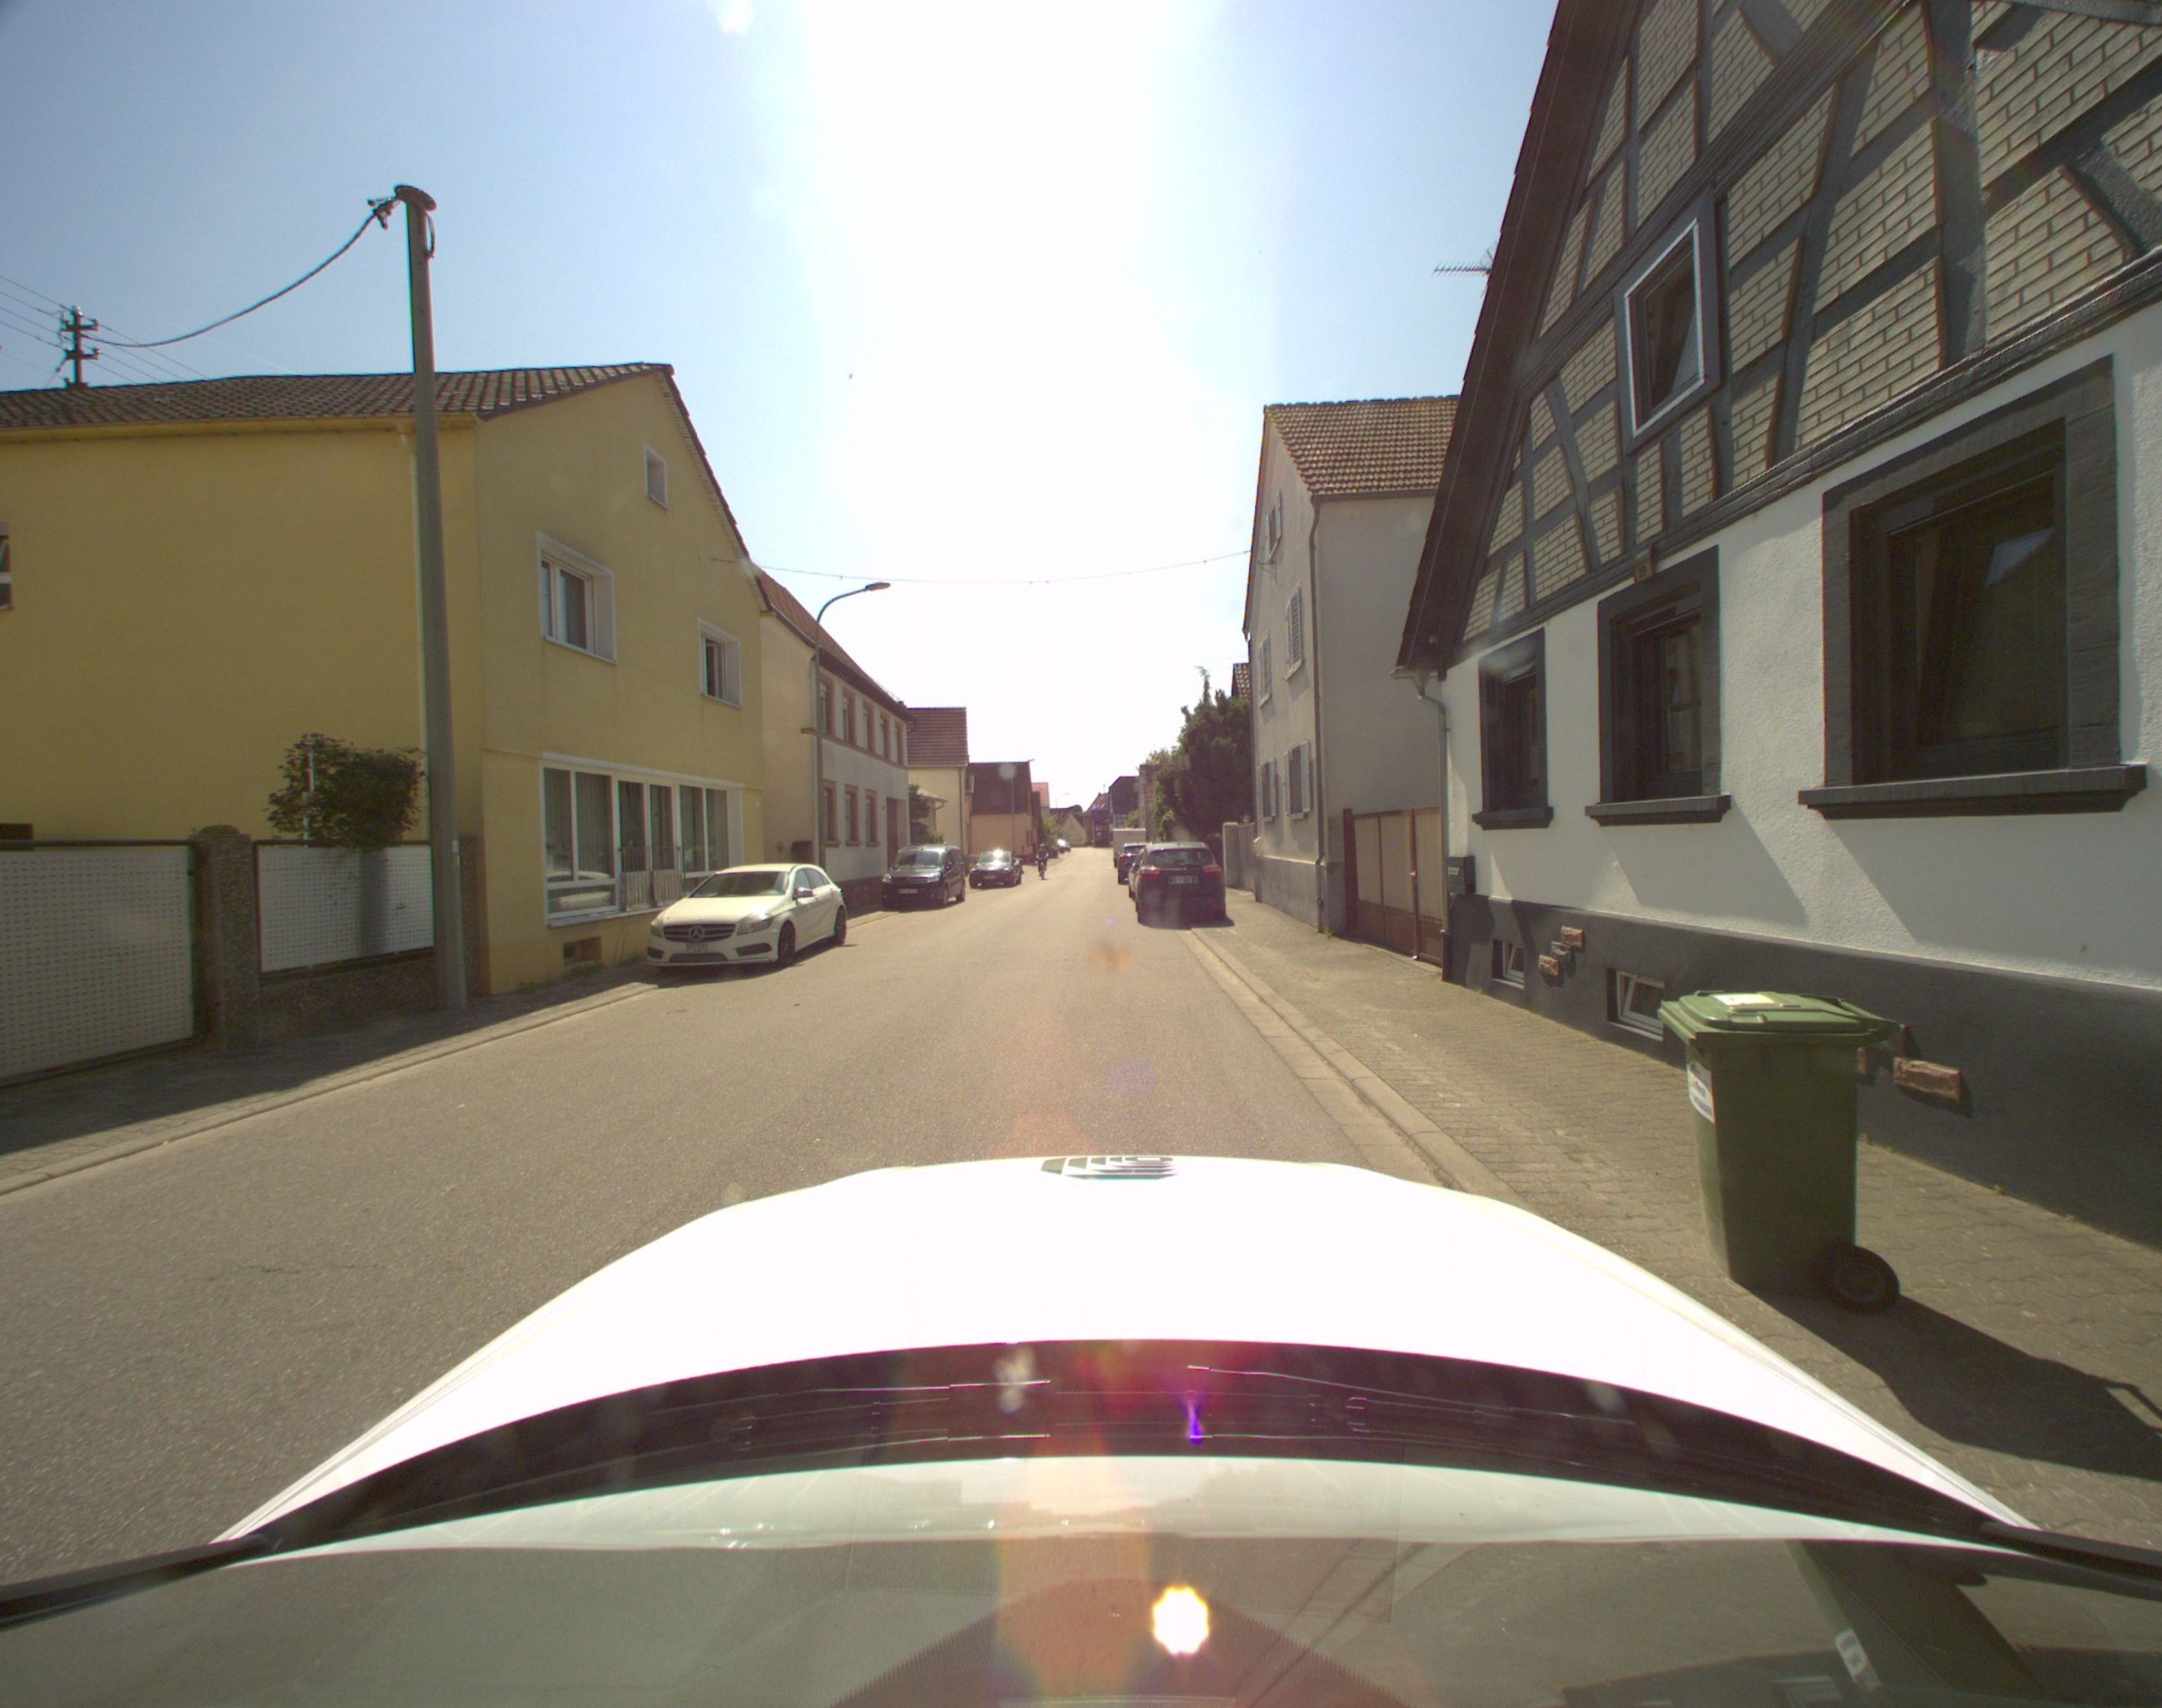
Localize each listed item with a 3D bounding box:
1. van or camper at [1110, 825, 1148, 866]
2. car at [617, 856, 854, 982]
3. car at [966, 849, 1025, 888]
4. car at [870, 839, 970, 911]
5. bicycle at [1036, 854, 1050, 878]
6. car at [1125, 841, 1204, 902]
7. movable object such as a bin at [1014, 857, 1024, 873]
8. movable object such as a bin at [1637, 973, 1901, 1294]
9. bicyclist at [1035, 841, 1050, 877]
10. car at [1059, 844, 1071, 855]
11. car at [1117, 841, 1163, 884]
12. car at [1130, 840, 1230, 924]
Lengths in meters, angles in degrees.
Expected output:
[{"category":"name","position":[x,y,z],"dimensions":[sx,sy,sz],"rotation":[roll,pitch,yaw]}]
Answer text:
[{"category":"van or camper","position":[3.397,-0.613,58.437],"dimensions":[2.513,2.696,4.556],"rotation":[-2,0,1]},{"category":"car","position":[-5.016,0.839,12.559],"dimensions":[1.829,1.464,4.268],"rotation":[-3,1,-1]},{"category":"car","position":[-3.683,0.576,35.823],"dimensions":[1.837,1.526,4.769],"rotation":[-2,1,3]},{"category":"car","position":[-4.612,0.535,24.020],"dimensions":[1.827,1.837,4.357],"rotation":[-3,1,3]},{"category":"bicycle","position":[-1.903,0.603,41.069],"dimensions":[0.587,1.148,1.947],"rotation":[-3,1,-1]},{"category":"car","position":[2.280,0.429,23.392],"dimensions":[1.813,1.508,4.582],"rotation":[-2,1,1]},{"category":"movable object such as a bin","position":[-3.862,0.689,50.910],"dimensions":[0.537,0.949,0.553],"rotation":[-1,1,1]},{"category":"movable object such as a bin","position":[2.395,0.930,2.901],"dimensions":[0.533,0.913,0.554],"rotation":[-2,0,19]},{"category":"bicyclist","position":[-1.943,0.247,41.375],"dimensions":[0.702,1.770,0.624],"rotation":[-2,0,-2]},{"category":"car","position":[-2.304,-0.666,120.738],"dimensions":[1.506,1.436,3.513],"rotation":[-3,1,2]},{"category":"car","position":[2.537,0.306,34.384],"dimensions":[1.785,1.631,4.367],"rotation":[-2,1,5]},{"category":"car","position":[2.060,0.517,18.114],"dimensions":[1.790,1.560,4.634],"rotation":[-2,1,3]}]
